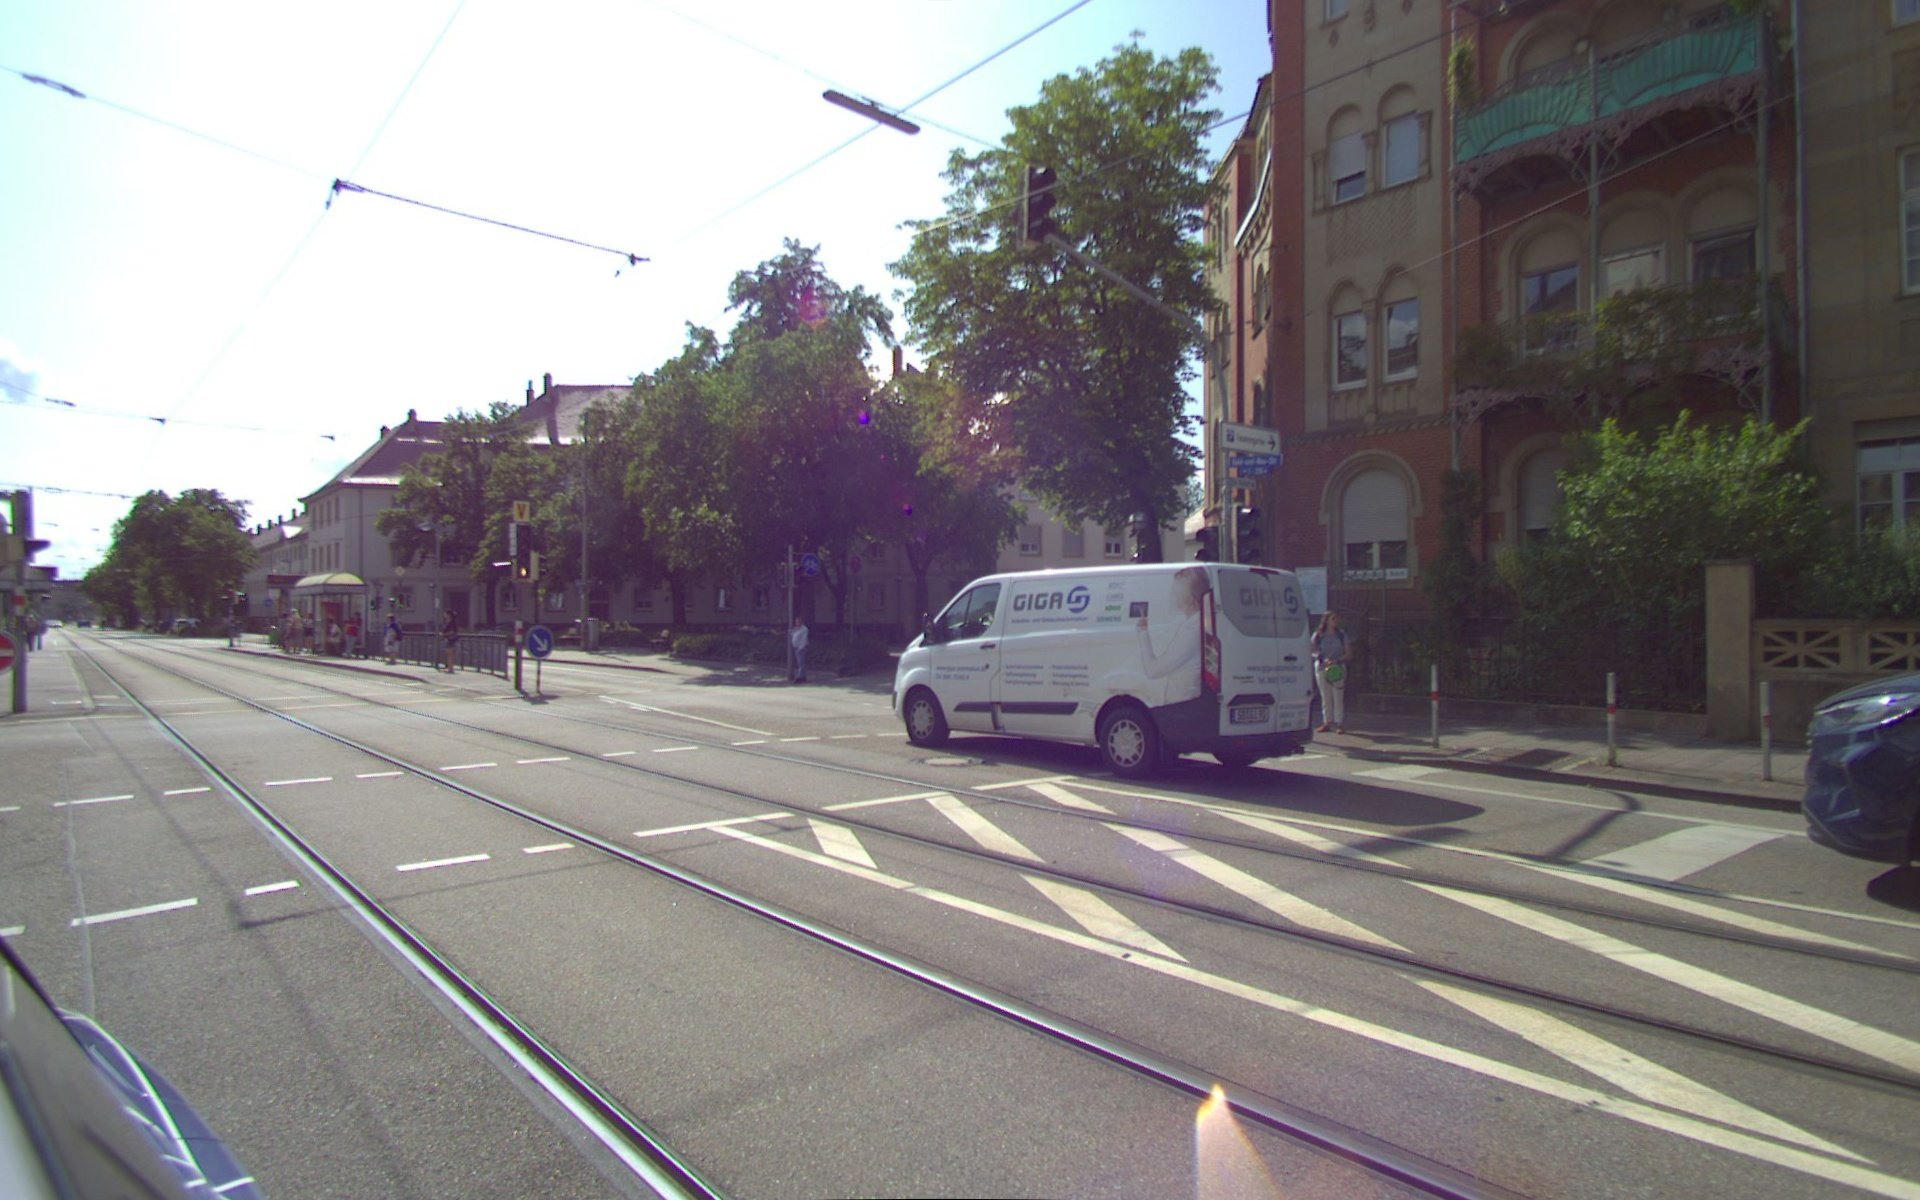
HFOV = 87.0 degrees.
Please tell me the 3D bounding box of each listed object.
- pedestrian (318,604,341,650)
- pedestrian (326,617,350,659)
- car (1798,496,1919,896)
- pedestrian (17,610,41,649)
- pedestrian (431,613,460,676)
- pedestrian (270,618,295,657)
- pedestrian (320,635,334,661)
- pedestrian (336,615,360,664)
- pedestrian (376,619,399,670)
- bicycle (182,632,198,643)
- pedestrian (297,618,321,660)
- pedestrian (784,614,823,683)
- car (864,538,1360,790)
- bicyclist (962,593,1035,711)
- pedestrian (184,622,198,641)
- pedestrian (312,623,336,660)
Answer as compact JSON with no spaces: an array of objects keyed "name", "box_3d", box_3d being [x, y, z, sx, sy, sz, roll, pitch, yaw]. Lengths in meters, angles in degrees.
[{"name":"pedestrian","box_3d":[-23.706,1.018,38.028,0.678,1.682,0.491,0,-3,42]},{"name":"pedestrian","box_3d":[-22.191,1.363,36.110,0.523,1.468,0.692,4,-3,-44]},{"name":"car","box_3d":[6.741,0.479,3.944,1.903,1.931,5.130,3,-3,-41]},{"name":"pedestrian","box_3d":[-37.931,1.200,41.249,0.692,1.544,0.557,-2,1,-43]},{"name":"pedestrian","box_3d":[-12.944,1.125,25.442,0.530,1.554,0.517,1,-4,-43]},{"name":"pedestrian","box_3d":[-28.084,1.551,41.939,0.638,1.619,0.648,0,-3,42]},{"name":"pedestrian","box_3d":[-23.832,1.805,38.113,0.346,0.937,0.335,0,-3,41]},{"name":"pedestrian","box_3d":[-21.220,1.377,35.085,0.467,1.669,0.747,5,-4,-43]},{"name":"pedestrian","box_3d":[-17.404,1.343,30.779,0.422,1.515,0.704,3,-2,-43]},{"name":"bicycle","box_3d":[-63.220,3.080,83.097,1.619,0.855,0.745,-2,-2,43]},{"name":"pedestrian","box_3d":[-26.206,1.578,40.729,0.648,1.654,0.639,5,-4,-43]},{"name":"pedestrian","box_3d":[-3.962,1.218,25.586,0.847,1.711,0.461,-1,1,36]},{"name":"car","box_3d":[1.300,0.598,10.642,1.969,2.010,5.096,3,-3,-41]},{"name":"bicyclist","box_3d":[0.584,0.756,15.241,0.828,1.708,0.673,-2,1,-44]},{"name":"pedestrian","box_3d":[-61.496,2.525,80.954,0.807,1.484,0.794,-1,-2,43]},{"name":"pedestrian","box_3d":[-23.846,1.565,37.957,0.406,1.347,0.596,0,-3,42]}]
